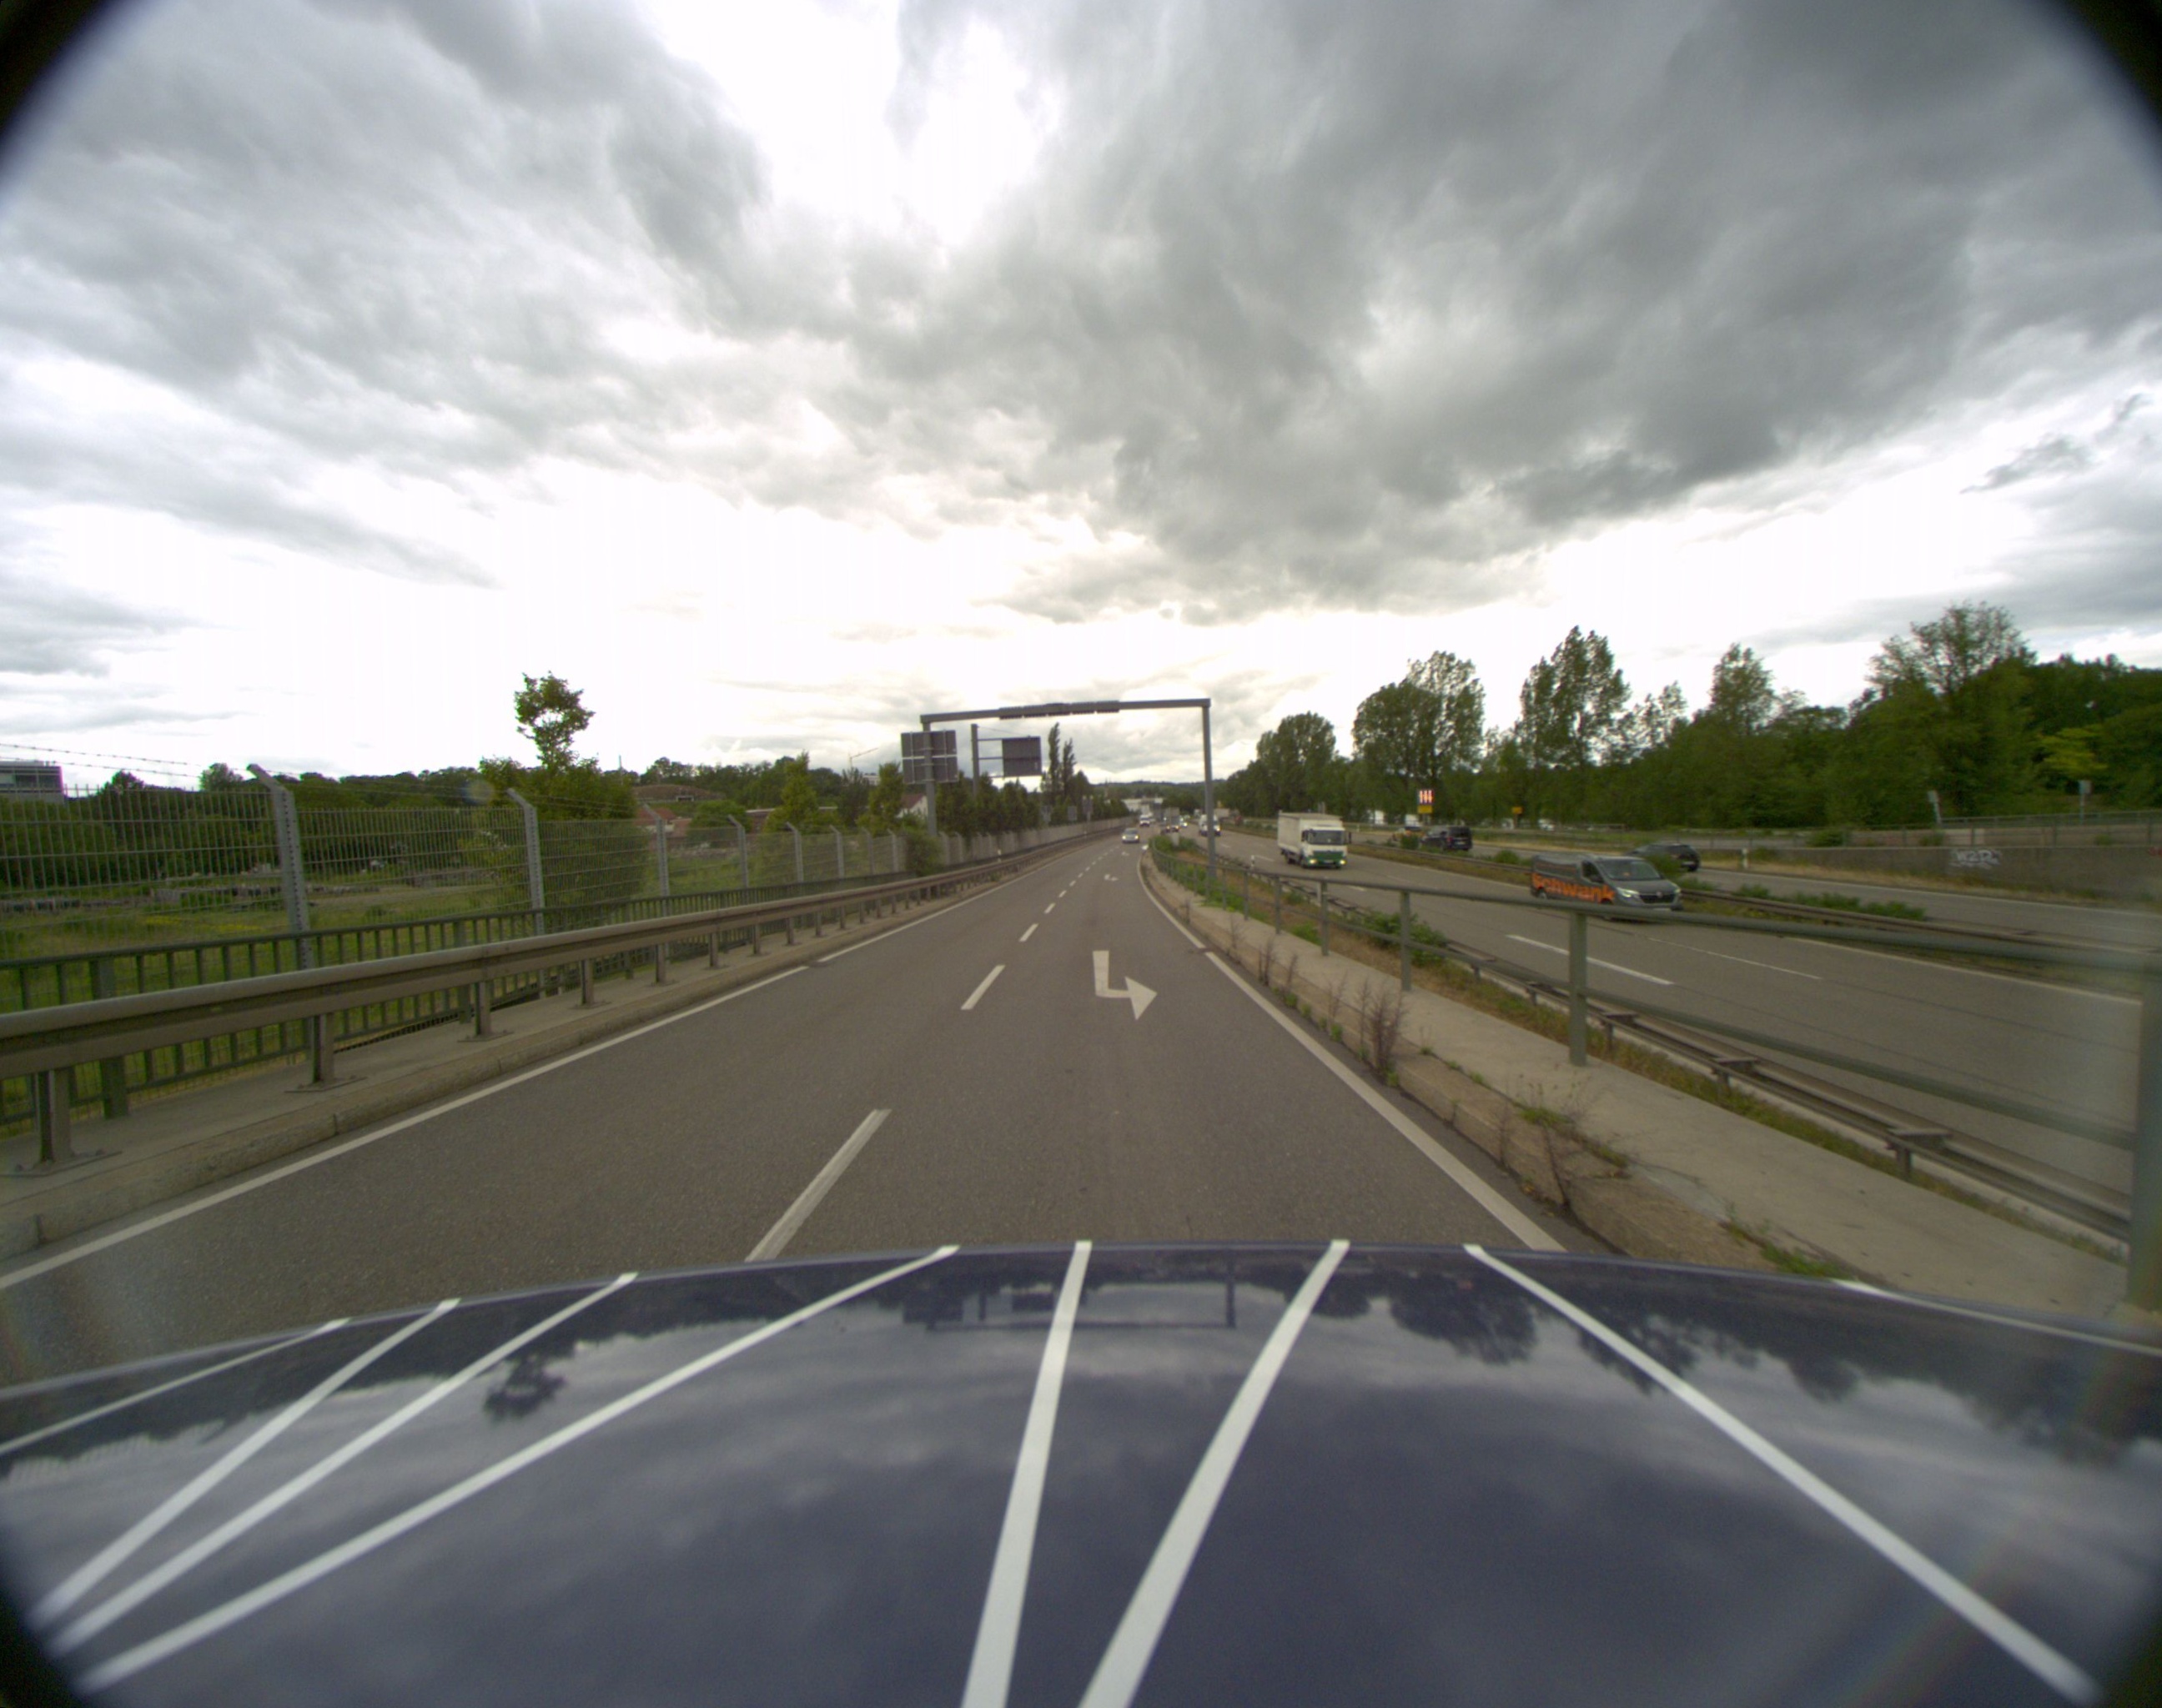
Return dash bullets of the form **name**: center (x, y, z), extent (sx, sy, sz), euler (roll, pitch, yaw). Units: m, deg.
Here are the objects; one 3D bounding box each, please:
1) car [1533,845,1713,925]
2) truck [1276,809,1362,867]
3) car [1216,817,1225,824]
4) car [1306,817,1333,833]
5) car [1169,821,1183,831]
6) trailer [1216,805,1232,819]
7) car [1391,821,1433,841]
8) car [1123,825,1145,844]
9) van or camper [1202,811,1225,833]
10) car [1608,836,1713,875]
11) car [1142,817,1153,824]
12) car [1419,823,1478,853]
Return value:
- **car**: center (17.436, 0.886, 24.905), extent (2.099, 2.003, 5.335), euler (-1, 4, 1)
- **truck**: center (14.448, -1.118, 46.889), extent (3.039, 3.142, 7.563), euler (-1, 4, 1)
- **car**: center (36.952, -8.757, 200.846), extent (1.998, 1.743, 3.999), euler (-1, 3, 5)
- **car**: center (29.418, -3.599, 93.876), extent (1.998, 1.684, 4.698), euler (-1, 7, 1)
- **car**: center (14.285, -4.205, 114.045), extent (1.998, 1.392, 4.000), euler (-1, 3, 6)
- **trailer**: center (42.989, -12.833, 228.656), extent (2.796, 3.928, 13.507), euler (-3, 3, 4)
- **car**: center (31.274, -2.243, 71.954), extent (1.998, 1.710, 4.700), euler (-1, 4, 0)
- **car**: center (5.872, -2.137, 83.946), extent (1.997, 2.002, 4.003), euler (0, 0, 9)
- **van or camper**: center (16.742, -4.132, 96.534), extent (2.209, 2.590, 6.326), euler (-2, 4, 4)
- **car**: center (30.130, 0.030, 39.705), extent (1.998, 1.683, 4.701), euler (-1, 4, 2)
- **car**: center (14.041, -7.154, 161.725), extent (1.998, 1.587, 3.998), euler (-1, 3, 0)
- **car**: center (27.496, -1.253, 57.015), extent (2.097, 1.978, 5.112), euler (-1, 4, 2)
